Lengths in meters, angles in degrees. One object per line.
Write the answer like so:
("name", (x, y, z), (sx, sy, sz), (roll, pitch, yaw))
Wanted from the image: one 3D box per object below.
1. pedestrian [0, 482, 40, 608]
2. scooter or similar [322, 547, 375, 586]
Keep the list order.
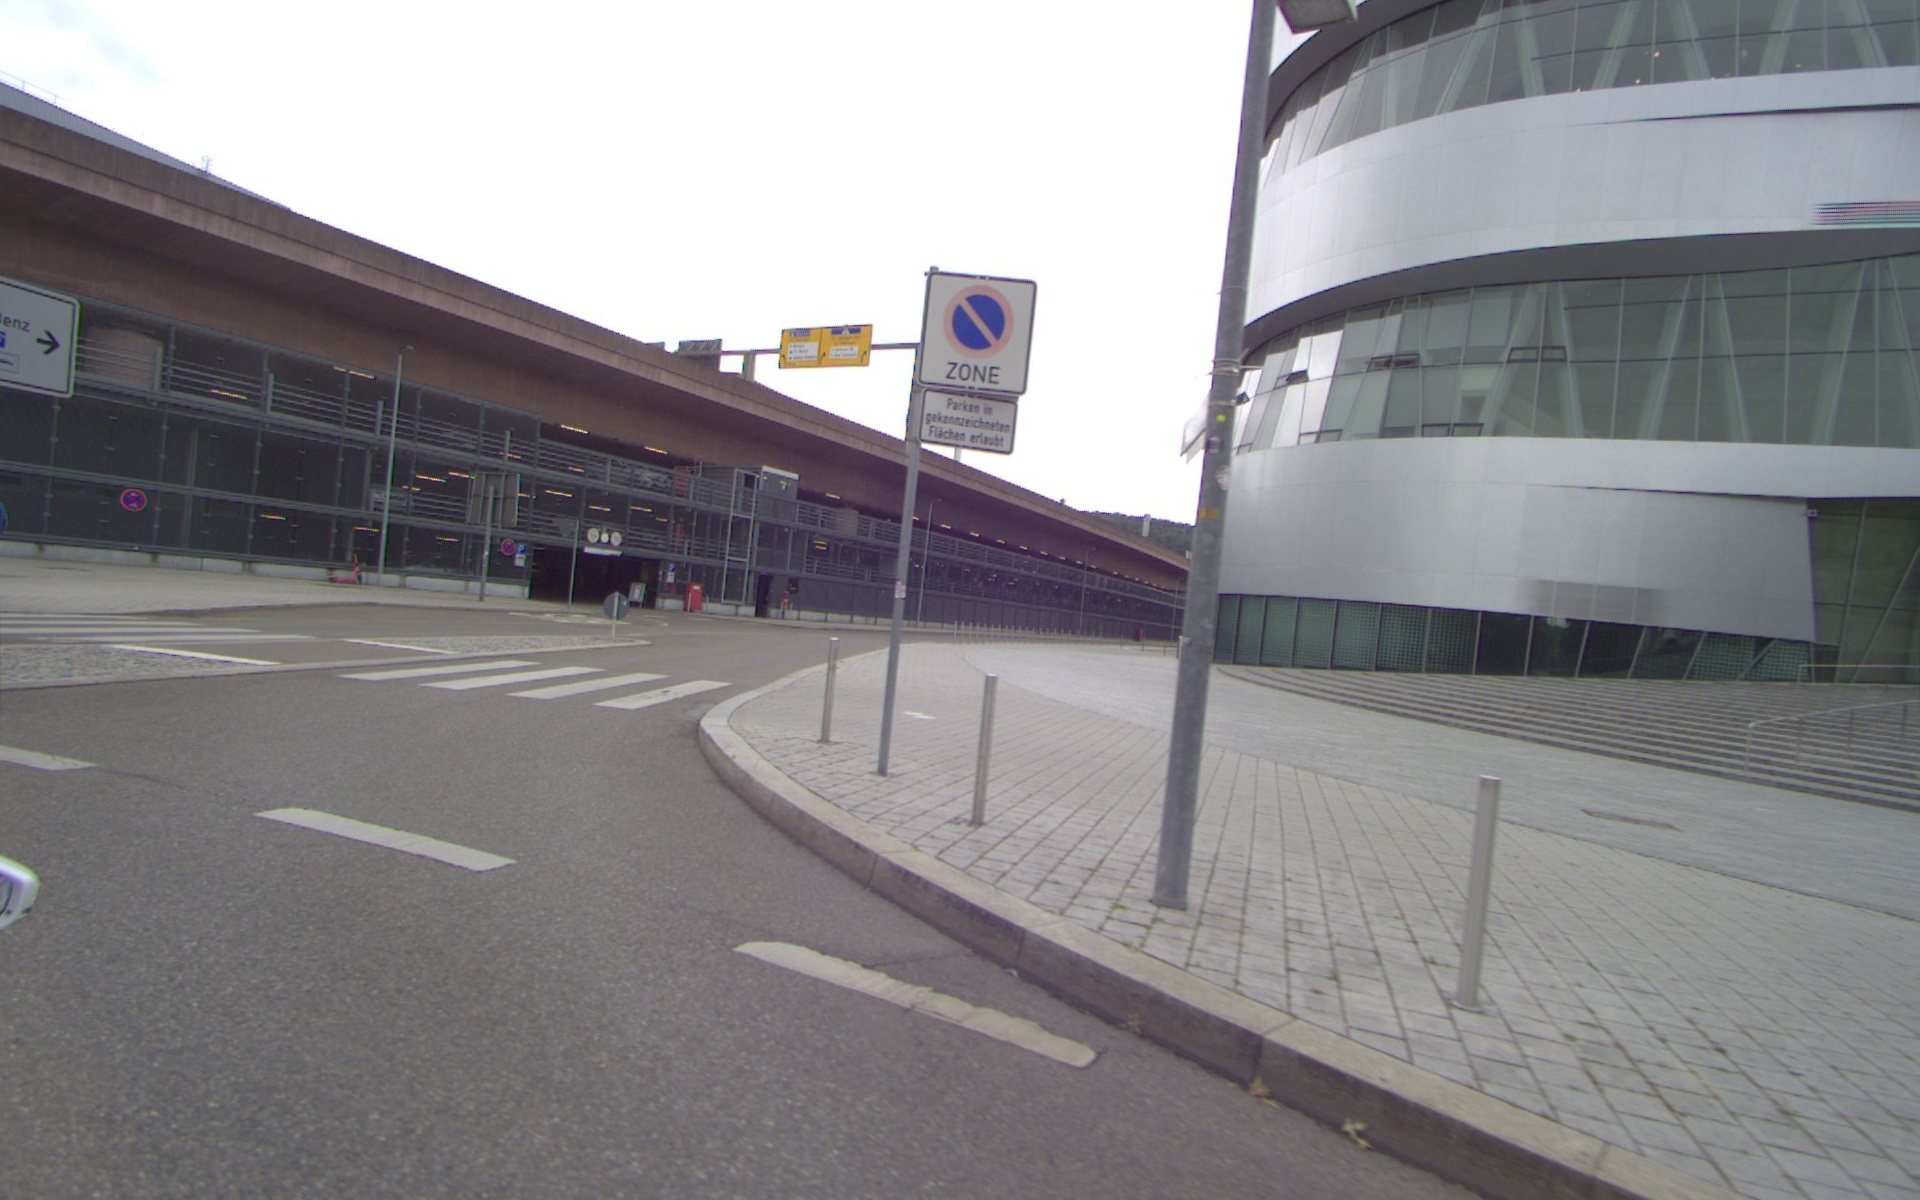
("pedestrian", (-14.421, -0.859, 14.825), (0.768, 1.820, 0.865), (7, 0, 20))
("scooter or similar", (-20.620, -1.111, 33.960), (0.374, 1.136, 1.426), (7, 0, 30))
